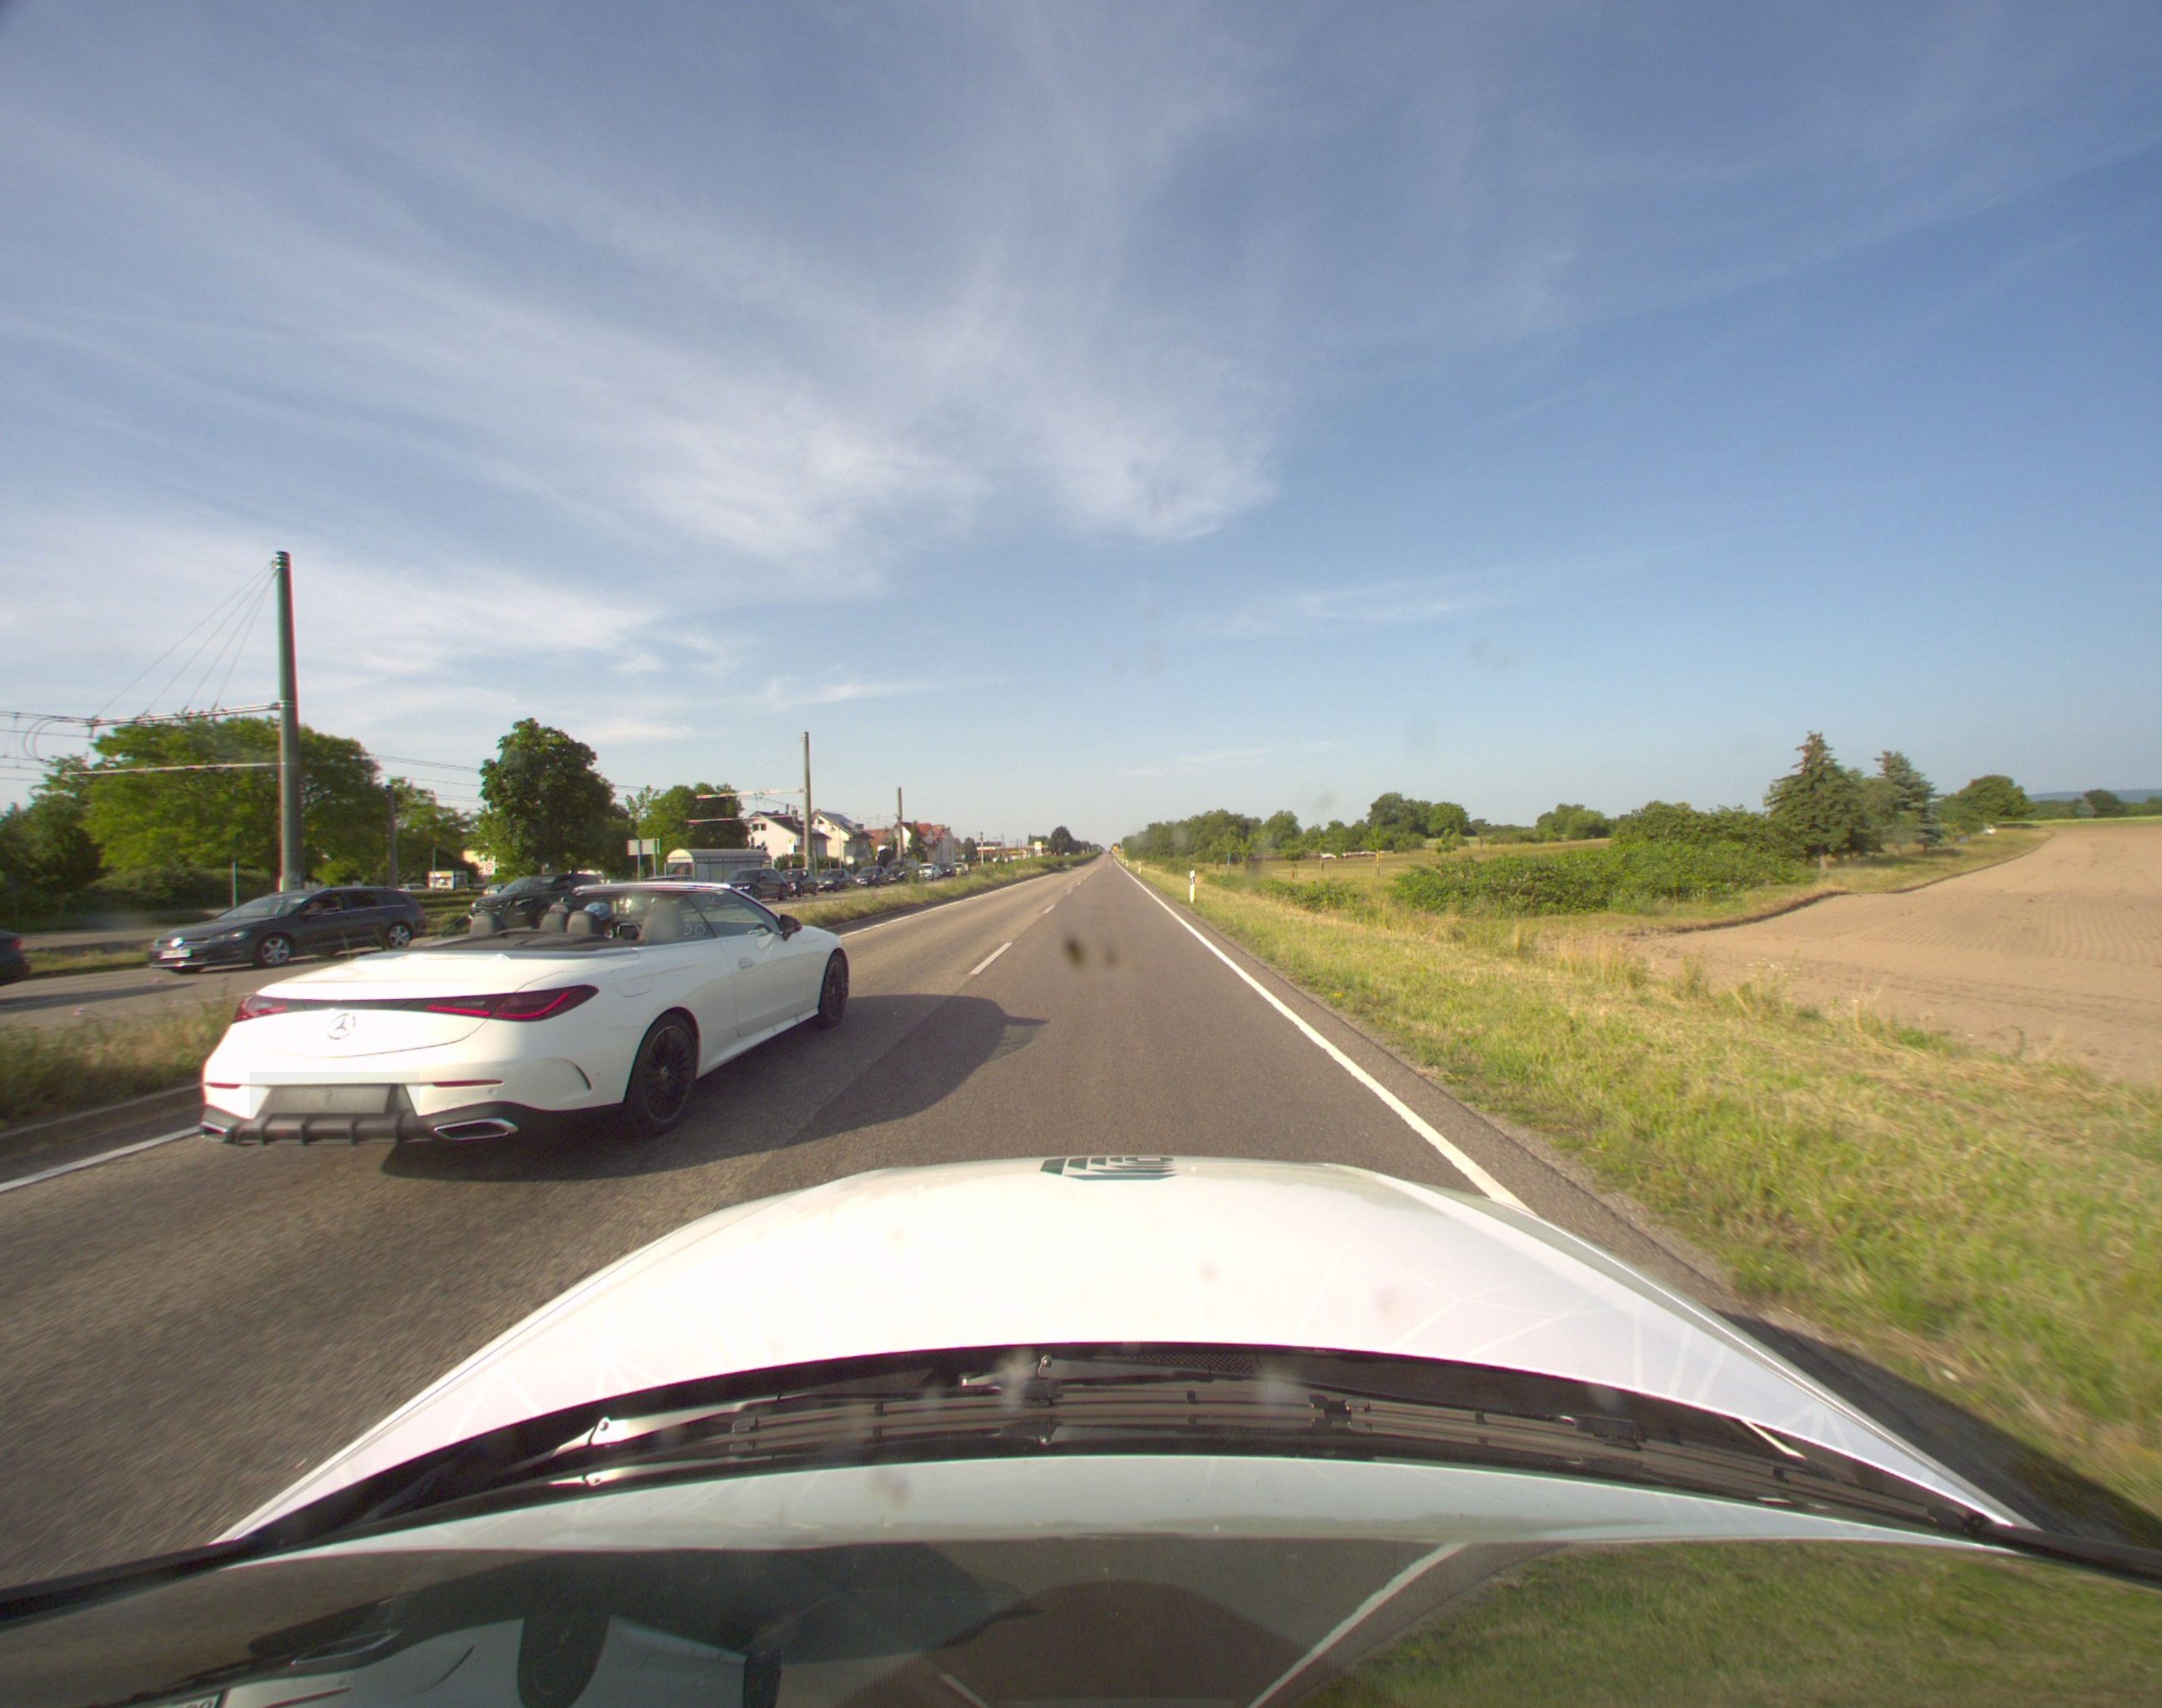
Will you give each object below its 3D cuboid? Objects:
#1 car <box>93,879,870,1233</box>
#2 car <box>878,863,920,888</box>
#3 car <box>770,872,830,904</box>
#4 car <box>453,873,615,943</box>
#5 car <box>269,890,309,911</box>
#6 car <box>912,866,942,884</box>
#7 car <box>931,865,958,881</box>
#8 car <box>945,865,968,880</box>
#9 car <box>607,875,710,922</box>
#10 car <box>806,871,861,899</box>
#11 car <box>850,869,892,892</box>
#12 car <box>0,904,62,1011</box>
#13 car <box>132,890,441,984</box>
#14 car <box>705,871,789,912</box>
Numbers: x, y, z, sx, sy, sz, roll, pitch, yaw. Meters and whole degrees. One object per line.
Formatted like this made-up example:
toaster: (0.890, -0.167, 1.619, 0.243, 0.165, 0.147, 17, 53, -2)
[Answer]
car: (-3.139, 0.913, 5.859, 1.764, 1.337, 4.953, 0, 0, 2)
car: (-14.175, 1.650, 63.776, 1.908, 1.683, 5.256, -3, -1, 2)
car: (-14.825, 1.765, 43.158, 1.654, 1.431, 3.806, -3, -1, 2)
car: (-15.716, 1.482, 23.707, 1.654, 1.687, 4.230, -3, -1, 2)
car: (-60.917, 3.583, 62.605, 3.575, 1.366, 1.746, -5, -1, 39)
car: (-13.620, 1.838, 72.279, 1.654, 1.431, 4.450, -3, -1, 2)
car: (-13.521, 1.885, 80.867, 1.654, 1.431, 4.328, -3, -1, 2)
car: (-13.627, 2.013, 89.397, 1.654, 1.431, 4.328, -3, -1, 2)
car: (-15.457, 1.586, 30.033, 1.654, 1.431, 3.806, -3, -1, 2)
car: (-14.892, 1.841, 49.263, 1.654, 1.431, 4.719, -3, -1, 2)
car: (-14.453, 1.806, 56.282, 1.654, 1.431, 4.058, -3, -1, 2)
car: (-15.625, 1.460, 9.261, 1.654, 1.415, 4.977, -3, -1, 2)
car: (-15.701, 1.557, 16.526, 1.654, 1.381, 4.543, -3, -1, 2)
car: (-14.851, 1.612, 36.487, 1.654, 1.562, 4.547, -3, -1, 2)
